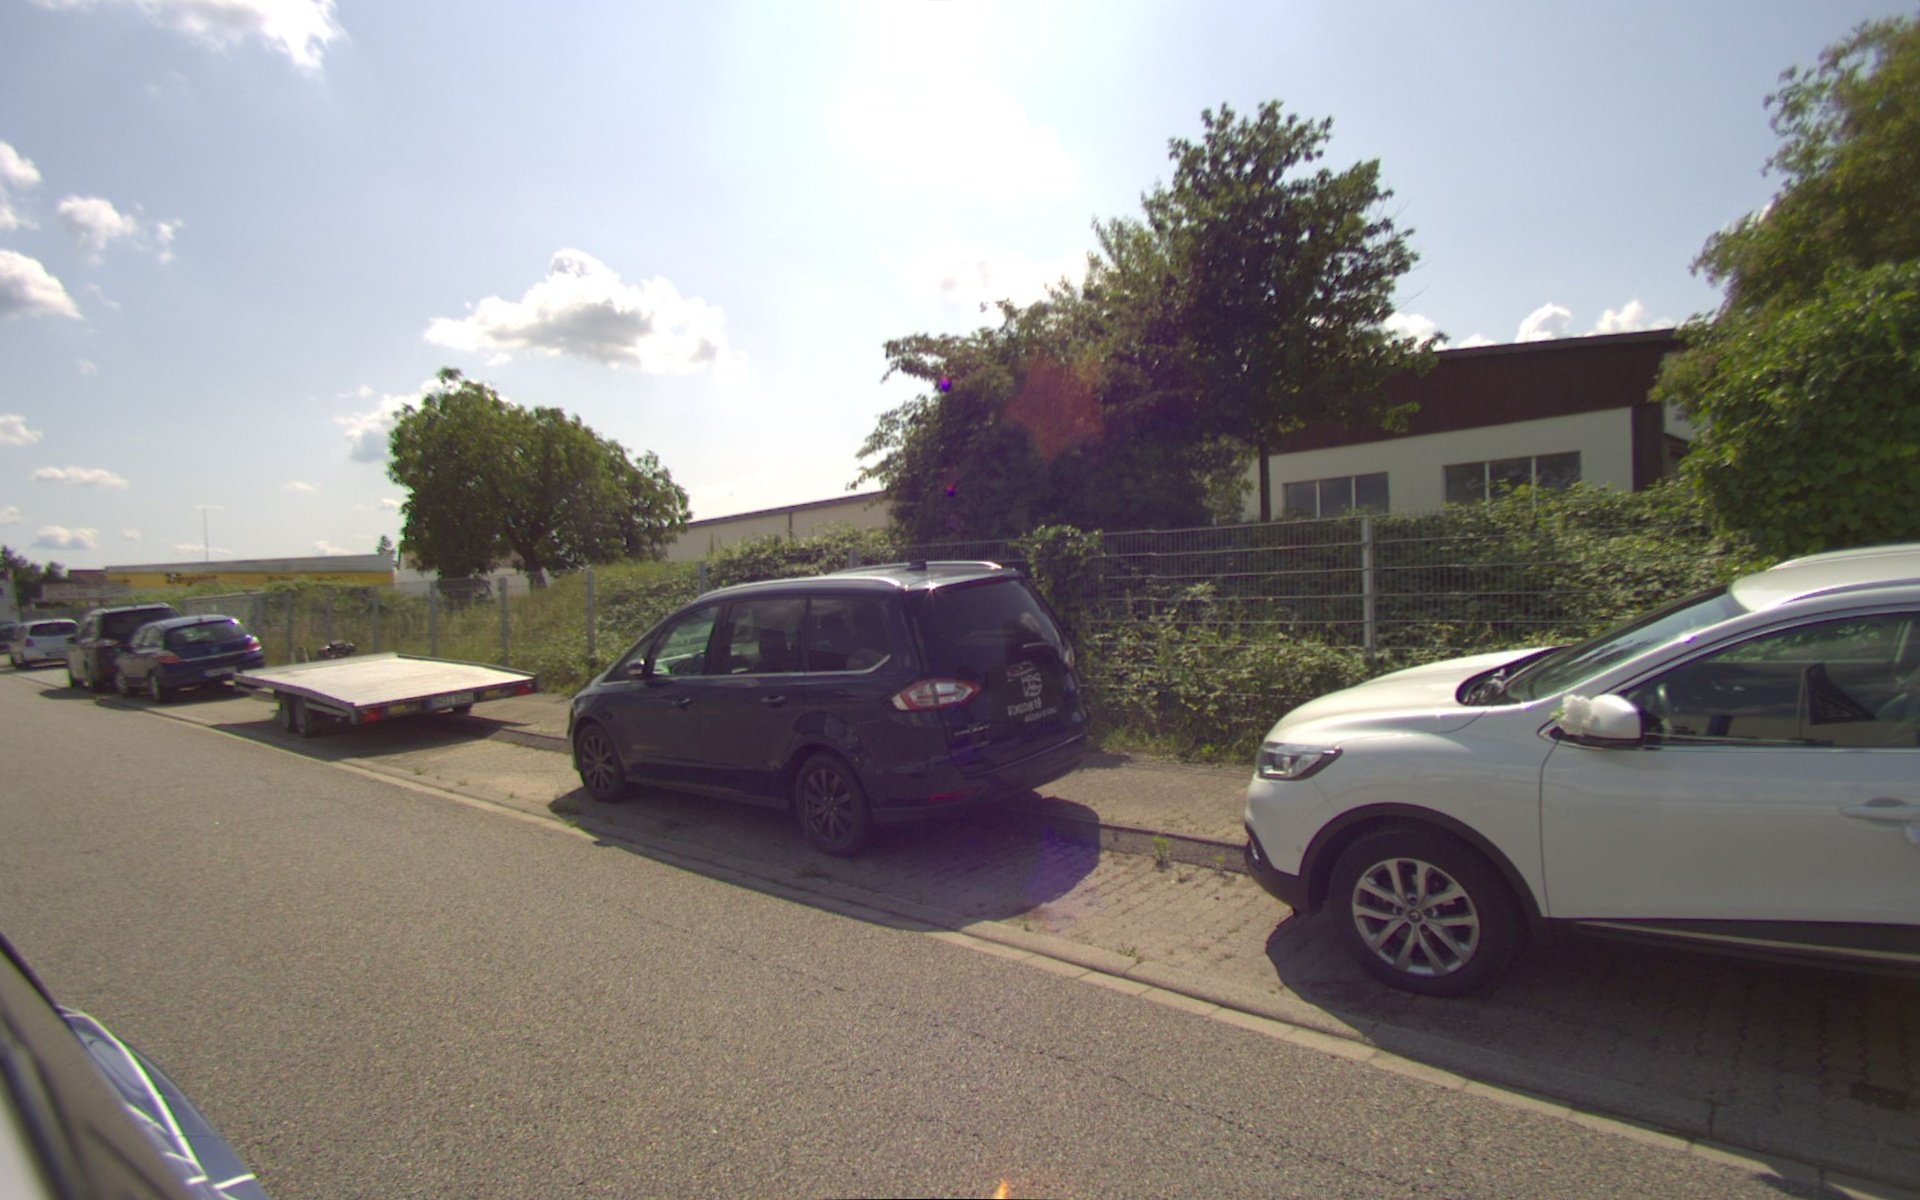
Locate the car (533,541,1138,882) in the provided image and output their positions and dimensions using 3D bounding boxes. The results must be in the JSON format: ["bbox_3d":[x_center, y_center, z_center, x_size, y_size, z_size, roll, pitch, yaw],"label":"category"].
[{"bbox_3d":[-1.198,0.631,7.614,4.733,1.807,1.808,-2,-1,41],"label":"car"}]

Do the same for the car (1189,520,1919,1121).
[{"bbox_3d":[3.267,0.606,3.592,4.439,1.704,1.668,-2,4,38],"label":"car"}]

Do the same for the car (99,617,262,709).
[{"bbox_3d":[-14.998,1.137,19.406,4.197,1.524,1.561,-1,1,40],"label":"car"}]

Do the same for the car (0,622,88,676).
[{"bbox_3d":[-28.751,1.503,31.743,3.708,1.494,1.599,-2,2,42],"label":"car"}]

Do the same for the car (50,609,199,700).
[{"bbox_3d":[-18.659,1.146,22.533,4.710,1.763,1.782,-1,1,41],"label":"car"}]

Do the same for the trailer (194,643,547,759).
[{"bbox_3d":[-8.511,1.222,14.138,7.131,0.889,2.247,-1,4,43],"label":"trailer"}]

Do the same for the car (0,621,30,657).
[{"bbox_3d":[-43.064,1.765,45.300,3.825,1.439,1.603,-2,6,42],"label":"car"}]

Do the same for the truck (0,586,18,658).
[{"bbox_3d":[-48.657,1.215,49.926,6.903,3.386,2.228,-2,4,41],"label":"truck"}]
